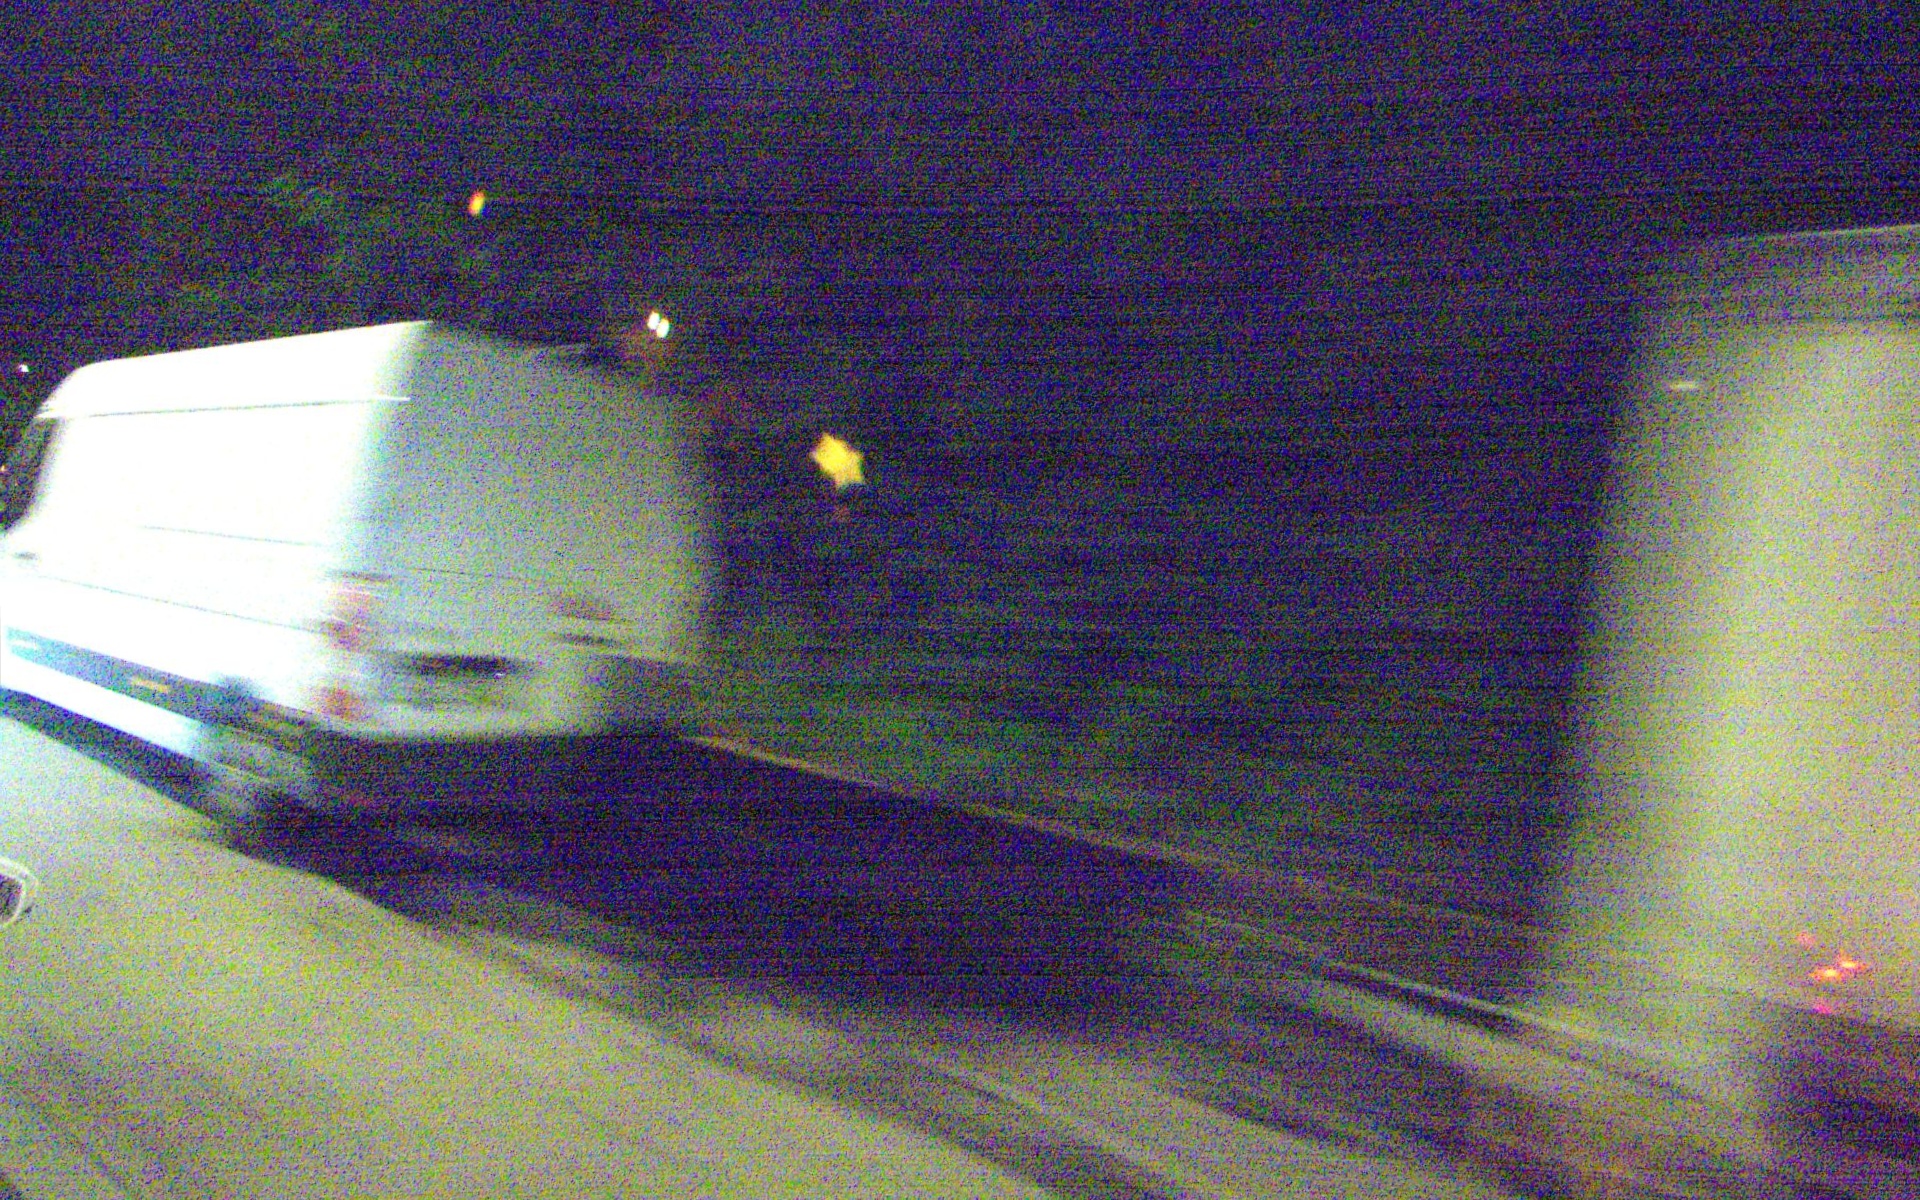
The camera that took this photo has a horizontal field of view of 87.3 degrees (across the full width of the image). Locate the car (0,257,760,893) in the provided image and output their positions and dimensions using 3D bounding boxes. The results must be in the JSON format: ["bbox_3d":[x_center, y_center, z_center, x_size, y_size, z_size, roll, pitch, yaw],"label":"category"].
[{"bbox_3d":[-4.469,-0.299,6.593,6.267,2.546,2.111,6,-1,33],"label":"car"}]

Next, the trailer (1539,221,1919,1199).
[{"bbox_3d":[3.983,0.737,1.717,4.942,2.503,1.635,6,0,30],"label":"trailer"}]
